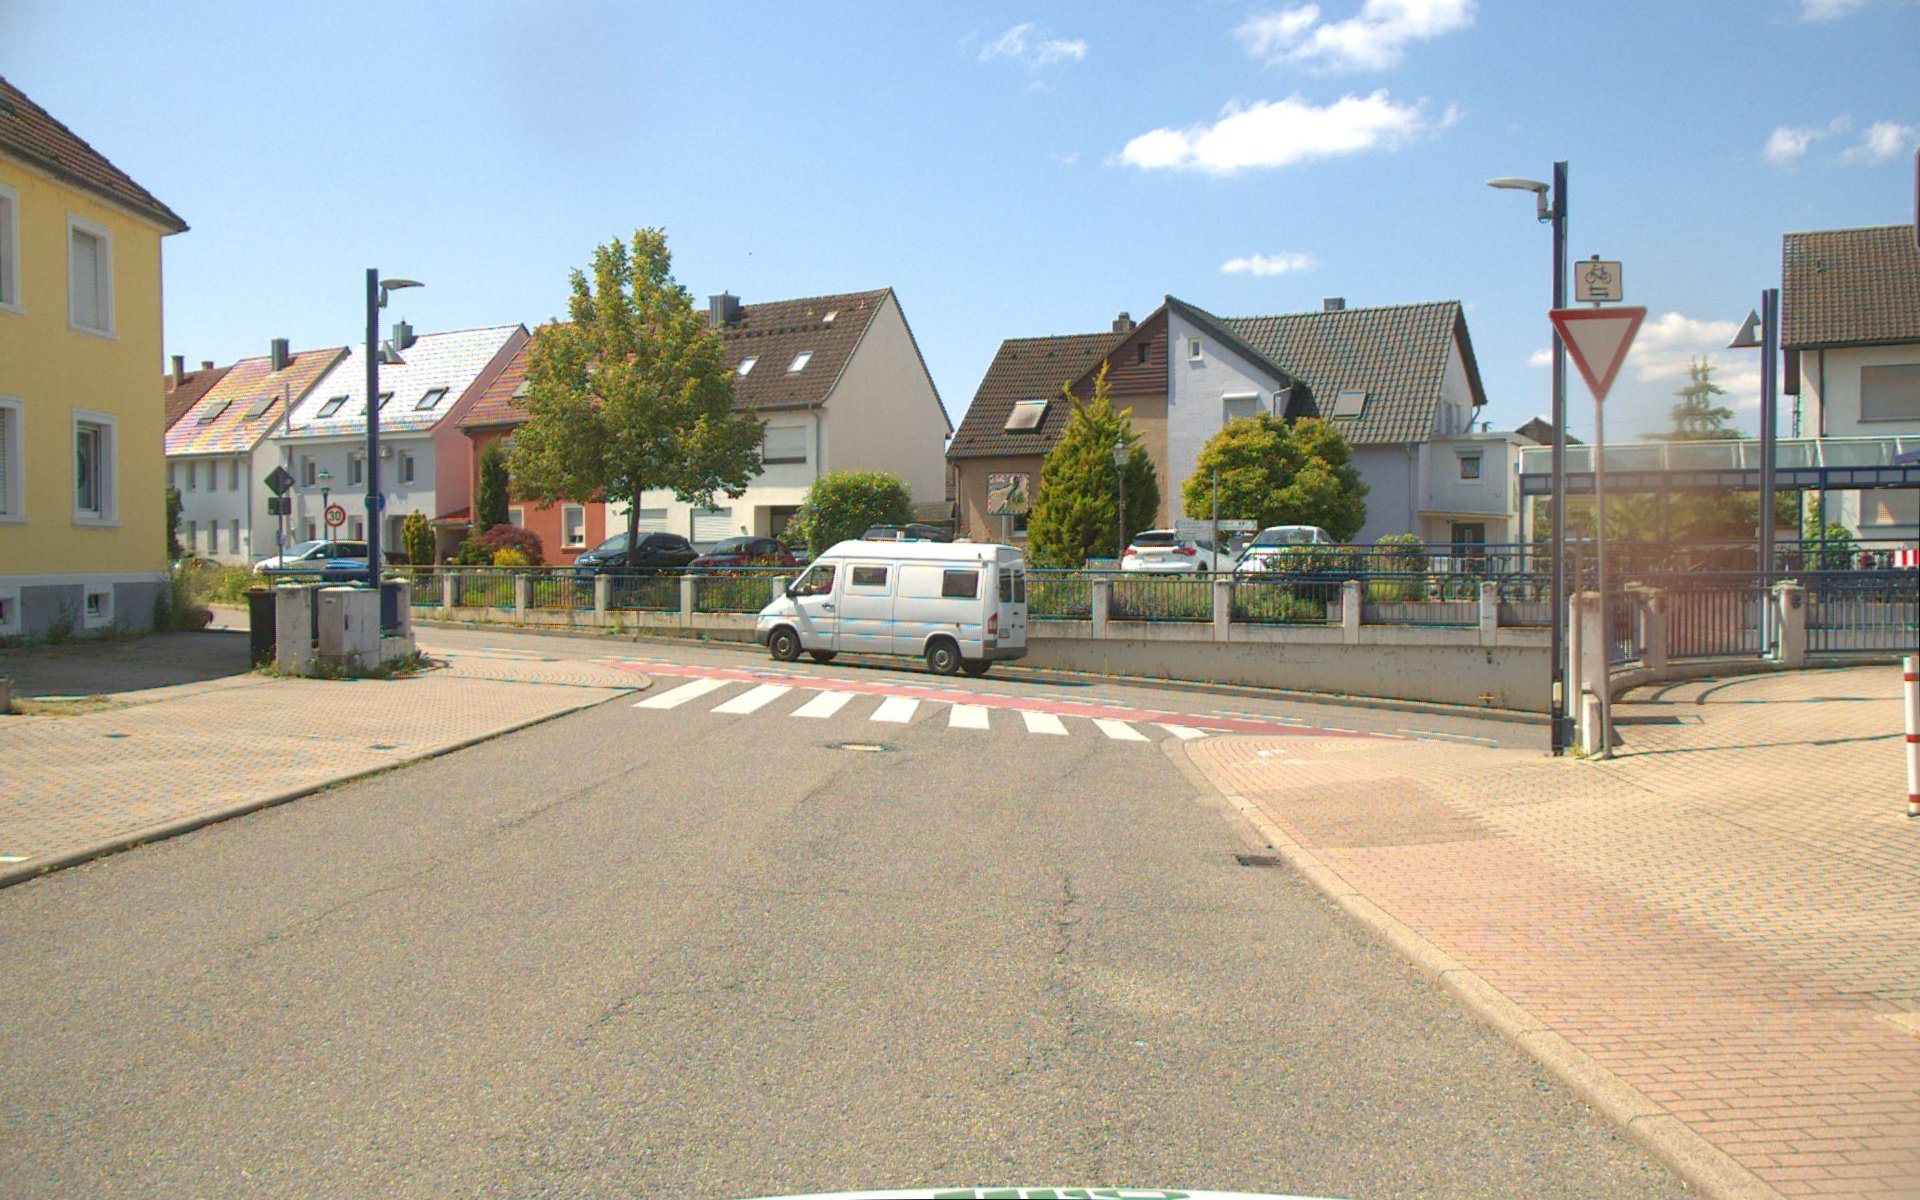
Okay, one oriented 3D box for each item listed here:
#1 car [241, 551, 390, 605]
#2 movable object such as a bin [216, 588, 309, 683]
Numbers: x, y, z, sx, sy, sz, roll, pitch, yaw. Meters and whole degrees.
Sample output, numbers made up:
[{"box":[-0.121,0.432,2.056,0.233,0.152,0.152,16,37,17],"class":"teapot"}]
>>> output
[{"box":[-20.706,-0.683,53.269,1.711,1.514,4.246,4,1,32],"class":"car"},{"box":[-9.432,0.464,22.397,0.867,1.246,0.902,0,1,1],"class":"movable object such as a bin"}]
